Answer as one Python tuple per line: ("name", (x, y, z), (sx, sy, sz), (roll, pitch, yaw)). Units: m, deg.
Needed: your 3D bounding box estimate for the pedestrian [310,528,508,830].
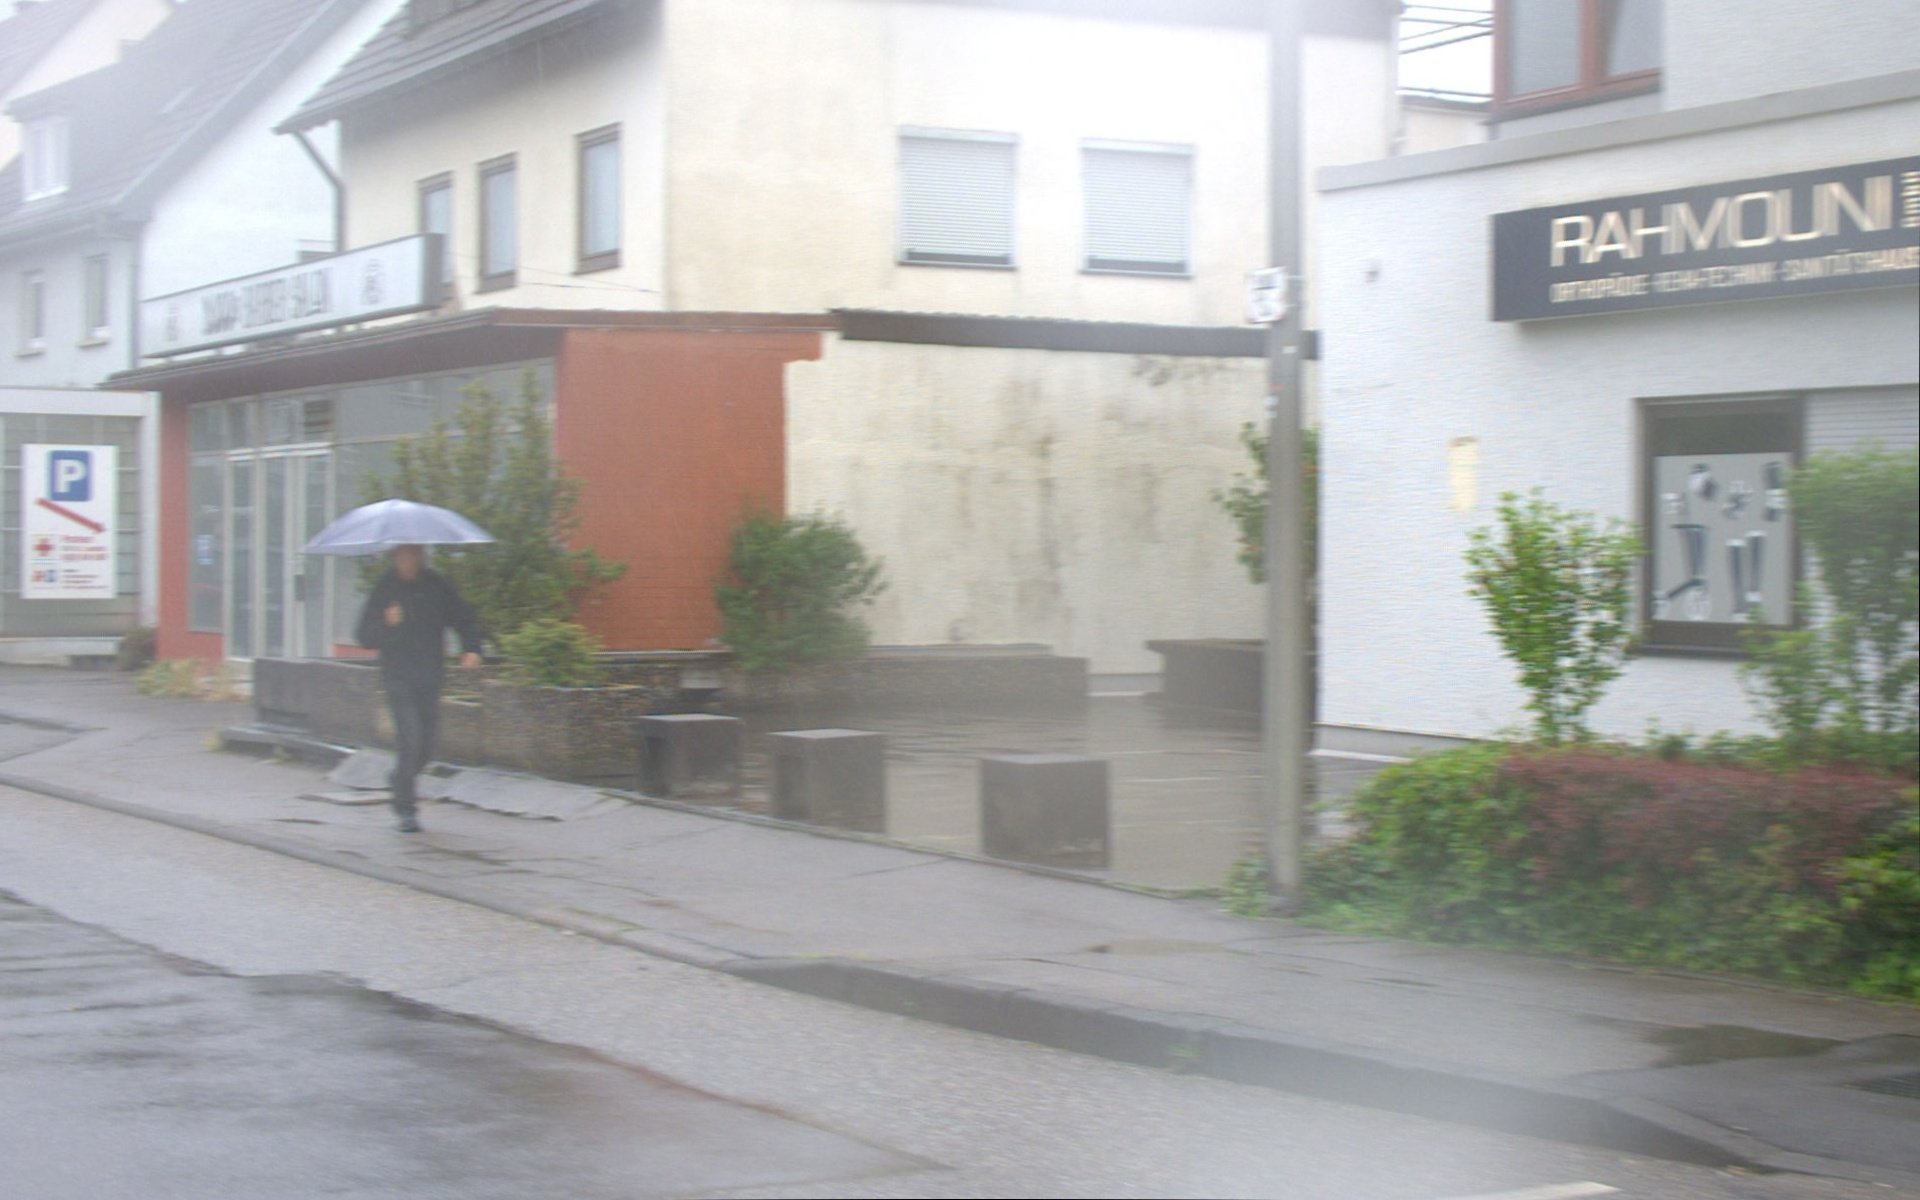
("pedestrian", (-2.954, 0.420, 18.389), (0.752, 1.563, 0.993), (2, -1, -25))
